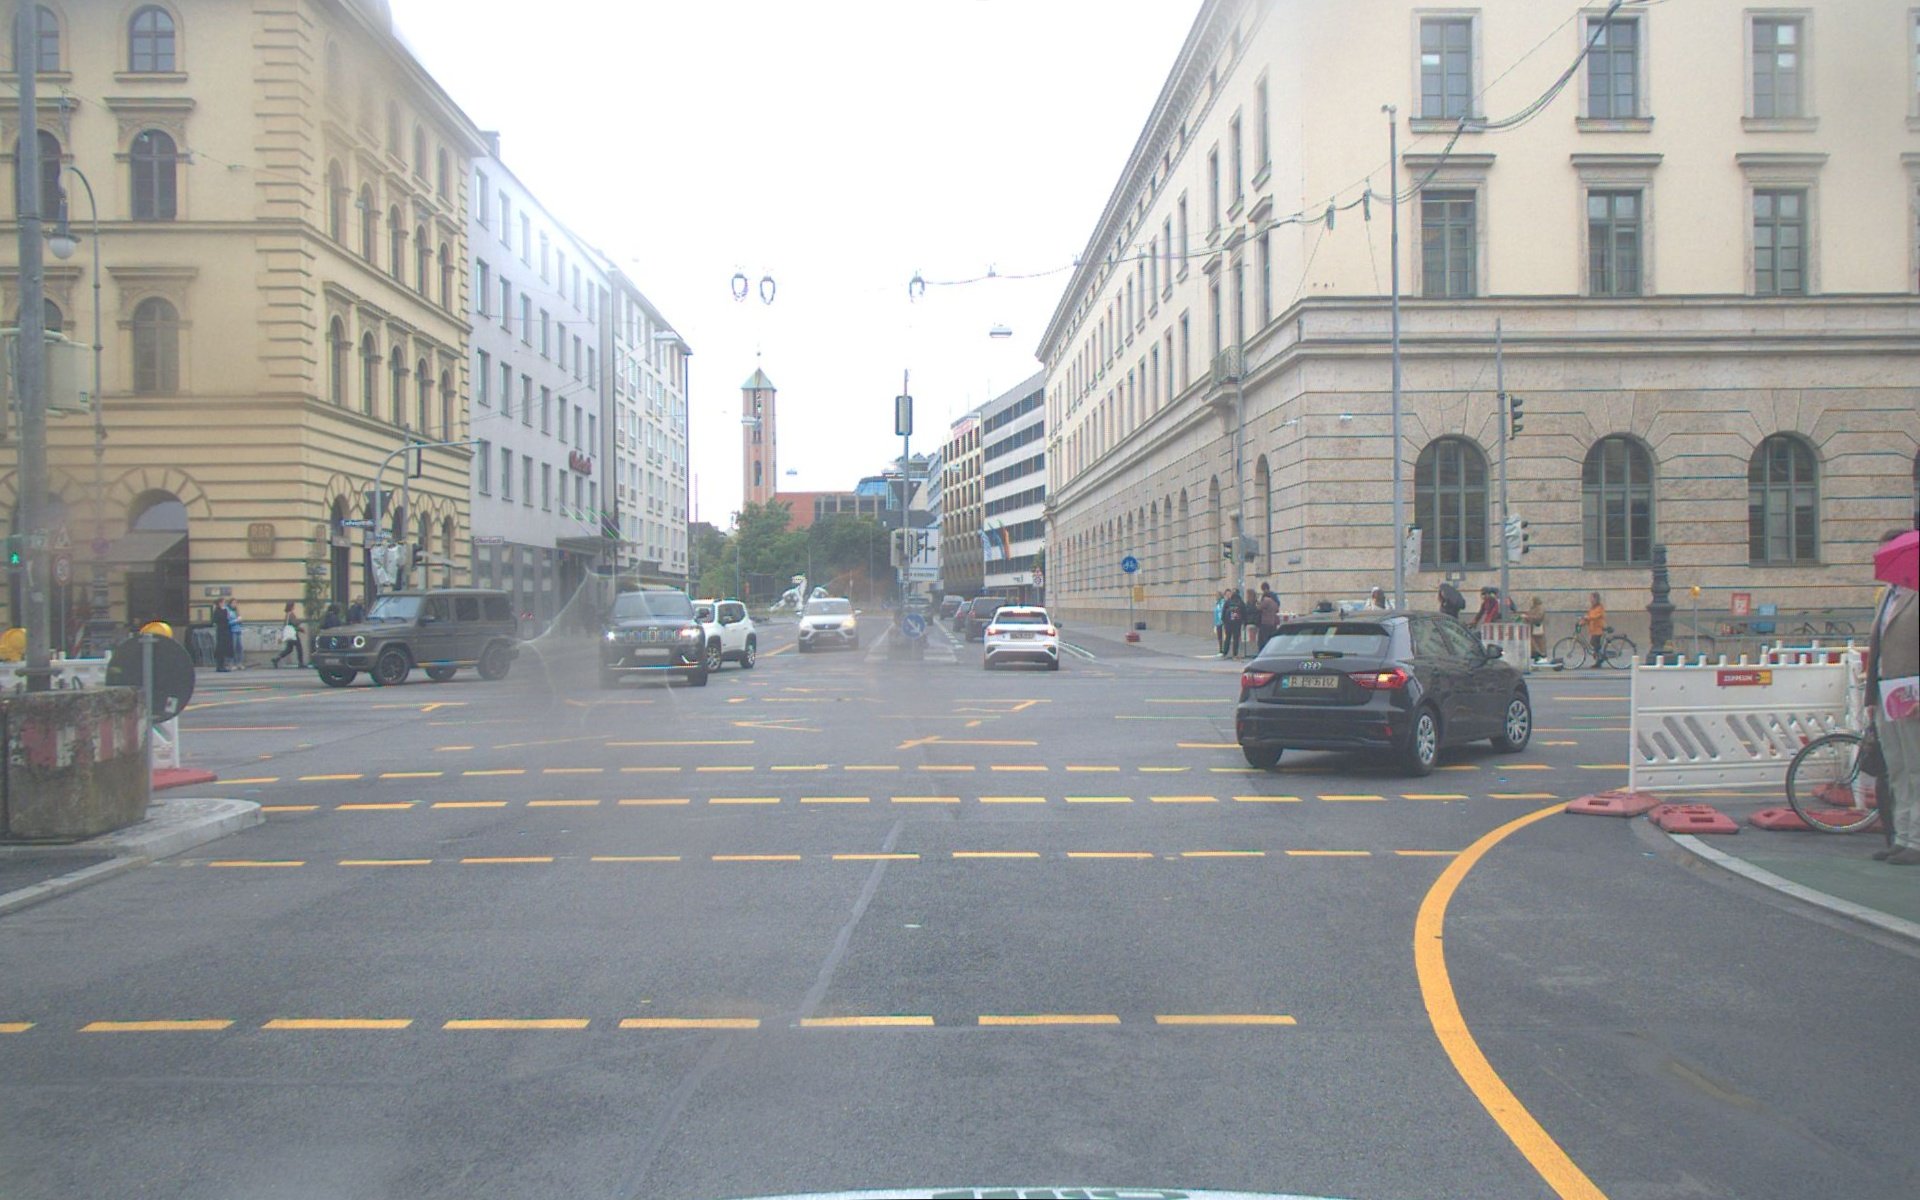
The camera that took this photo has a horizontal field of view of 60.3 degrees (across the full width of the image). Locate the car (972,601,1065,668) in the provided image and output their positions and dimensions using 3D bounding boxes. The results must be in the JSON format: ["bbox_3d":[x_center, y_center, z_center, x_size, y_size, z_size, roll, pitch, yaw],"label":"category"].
[{"bbox_3d":[1.330,0.779,39.304,1.777,1.449,4.449,1,0,-3],"label":"car"}]

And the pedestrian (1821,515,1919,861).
[{"bbox_3d":[5.446,0.489,9.484,0.688,1.918,0.641,1,0,3],"label":"pedestrian"}]

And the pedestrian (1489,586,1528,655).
[{"bbox_3d":[13.831,0.507,41.746,0.701,1.723,0.820,1,0,-1],"label":"pedestrian"}]

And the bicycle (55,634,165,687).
[{"bbox_3d":[-19.047,1.351,37.097,2.165,1.118,0.595,-1,0,-27],"label":"bicycle"}]

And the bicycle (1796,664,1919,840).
[{"bbox_3d":[6.108,0.941,10.182,1.626,1.029,0.583,1,0,41],"label":"bicycle"}]

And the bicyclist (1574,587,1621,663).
[{"bbox_3d":[14.103,0.548,36.611,0.728,1.643,0.795,1,0,1],"label":"bicyclist"}]

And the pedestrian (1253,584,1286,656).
[{"bbox_3d":[7.842,0.505,41.922,0.572,1.786,0.818,0,0,29],"label":"pedestrian"}]

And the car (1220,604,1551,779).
[{"bbox_3d":[4.155,0.753,15.722,1.831,1.412,3.987,0,0,34],"label":"car"}]

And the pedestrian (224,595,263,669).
[{"bbox_3d":[-17.554,0.774,40.530,0.721,1.803,0.737,1,0,-12],"label":"pedestrian"}]

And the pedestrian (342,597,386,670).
[{"bbox_3d":[-14.942,0.833,41.458,0.718,1.803,0.739,0,0,19],"label":"pedestrian"}]

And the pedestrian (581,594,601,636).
[{"bbox_3d":[-16.057,0.638,72.031,0.722,1.803,0.736,1,0,-3],"label":"pedestrian"}]

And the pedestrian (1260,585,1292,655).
[{"bbox_3d":[8.161,0.499,42.732,0.572,1.786,0.818,0,0,29],"label":"pedestrian"}]

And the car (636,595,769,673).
[{"bbox_3d":[-5.986,0.754,38.934,1.755,1.707,4.237,-1,0,11],"label":"car"}]

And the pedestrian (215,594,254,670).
[{"bbox_3d":[-17.443,0.754,39.777,0.721,1.803,0.737,1,0,-12],"label":"pedestrian"}]

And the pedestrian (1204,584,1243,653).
[{"bbox_3d":[6.856,0.478,43.044,0.809,1.786,0.579,1,0,-33],"label":"pedestrian"}]

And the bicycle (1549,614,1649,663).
[{"bbox_3d":[14.131,0.846,36.616,1.918,1.059,0.795,1,0,0],"label":"bicycle"}]

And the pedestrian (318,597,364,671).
[{"bbox_3d":[-15.244,0.825,40.755,0.718,1.803,0.761,0,0,19],"label":"pedestrian"}]

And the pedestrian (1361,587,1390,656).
[{"bbox_3d":[10.328,0.529,41.128,0.603,1.701,0.542,0,0,6],"label":"pedestrian"}]

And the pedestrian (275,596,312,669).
[{"bbox_3d":[-16.864,0.815,41.847,0.728,1.803,0.730,1,0,-35],"label":"pedestrian"}]

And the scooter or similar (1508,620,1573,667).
[{"bbox_3d":[12.477,0.927,35.536,1.186,0.982,0.588,1,0,-1],"label":"scooter or similar"}]

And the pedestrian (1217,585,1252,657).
[{"bbox_3d":[6.883,0.526,41.487,0.800,1.786,0.680,0,0,14],"label":"pedestrian"}]

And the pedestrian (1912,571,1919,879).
[{"bbox_3d":[5.324,0.652,8.356,0.688,1.594,0.584,1,0,0],"label":"pedestrian"}]

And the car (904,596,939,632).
[{"bbox_3d":[-2.240,0.811,96.284,1.953,2.049,3.998,0,0,-2],"label":"car"}]

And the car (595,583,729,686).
[{"bbox_3d":[-5.522,0.603,31.185,1.955,1.765,4.581,-1,0,-4],"label":"car"}]

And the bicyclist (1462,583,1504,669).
[{"bbox_3d":[11.602,0.573,36.717,0.728,1.874,0.661,1,0,1],"label":"bicyclist"}]

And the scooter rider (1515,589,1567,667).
[{"bbox_3d":[12.480,0.588,35.533,0.913,1.651,0.592,1,0,-1],"label":"scooter rider"}]

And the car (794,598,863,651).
[{"bbox_3d":[-4.044,0.735,51.365,1.954,1.550,4.231,-1,0,-3],"label":"car"}]

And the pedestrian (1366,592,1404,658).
[{"bbox_3d":[10.377,0.595,40.398,0.800,1.584,0.667,1,0,6],"label":"pedestrian"}]

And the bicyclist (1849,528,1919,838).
[{"bbox_3d":[6.019,0.505,10.264,0.784,1.886,0.565,0,0,40],"label":"bicyclist"}]

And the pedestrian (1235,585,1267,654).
[{"bbox_3d":[7.680,0.510,43.595,0.800,1.786,0.586,0,0,12],"label":"pedestrian"}]

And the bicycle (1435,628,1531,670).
[{"bbox_3d":[11.599,1.085,36.712,1.931,0.895,0.661,1,0,0],"label":"bicycle"}]

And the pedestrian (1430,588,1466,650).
[{"bbox_3d":[12.454,0.486,42.237,0.651,1.554,0.820,1,0,-1],"label":"pedestrian"}]

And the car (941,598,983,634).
[{"bbox_3d":[0.064,0.738,78.281,1.827,1.629,3.849,-1,0,-2],"label":"car"}]

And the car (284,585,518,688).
[{"bbox_3d":[-11.889,0.721,35.469,2.195,2.049,4.443,-1,0,28],"label":"car"}]

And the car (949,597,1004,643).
[{"bbox_3d":[0.583,0.700,61.085,1.827,1.629,3.849,-1,0,-2],"label":"car"}]
